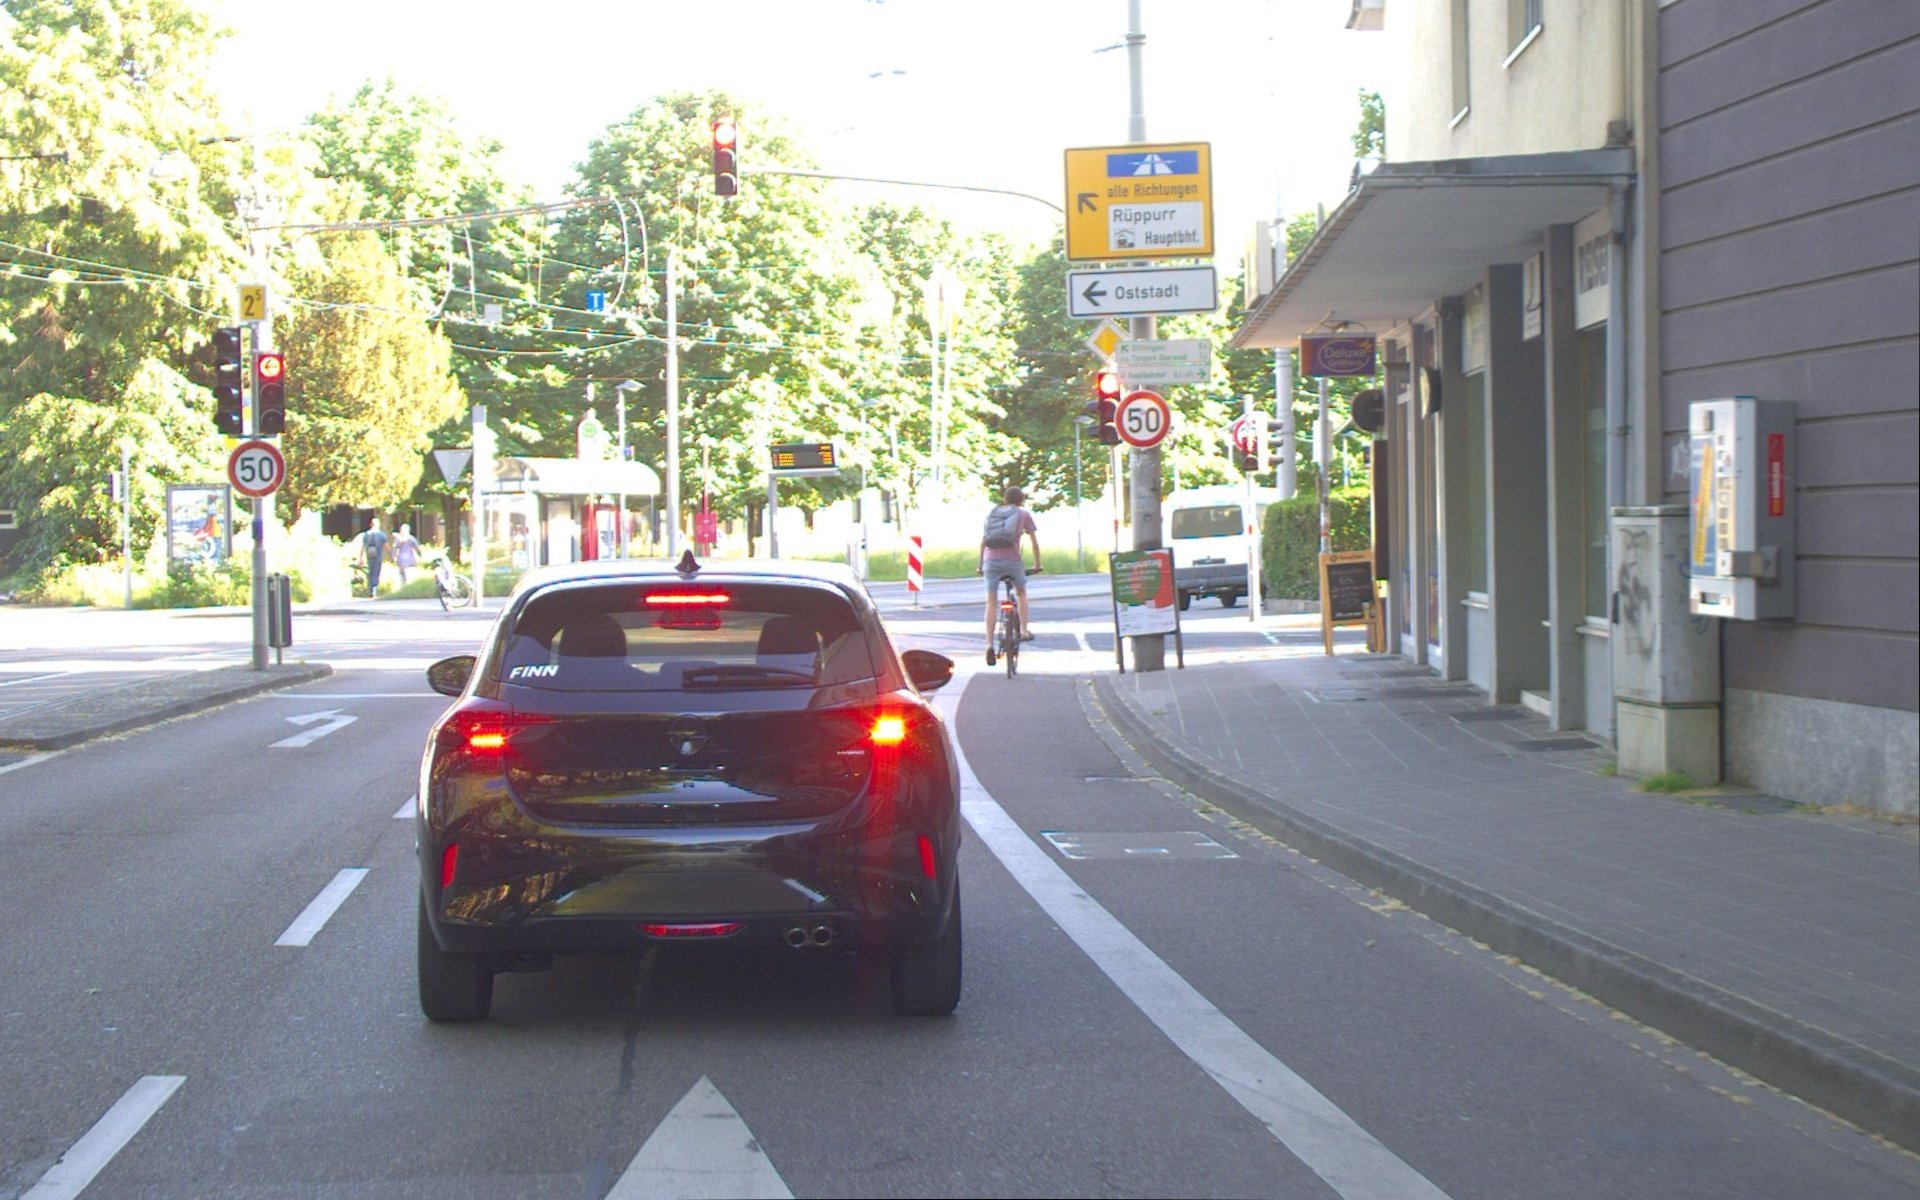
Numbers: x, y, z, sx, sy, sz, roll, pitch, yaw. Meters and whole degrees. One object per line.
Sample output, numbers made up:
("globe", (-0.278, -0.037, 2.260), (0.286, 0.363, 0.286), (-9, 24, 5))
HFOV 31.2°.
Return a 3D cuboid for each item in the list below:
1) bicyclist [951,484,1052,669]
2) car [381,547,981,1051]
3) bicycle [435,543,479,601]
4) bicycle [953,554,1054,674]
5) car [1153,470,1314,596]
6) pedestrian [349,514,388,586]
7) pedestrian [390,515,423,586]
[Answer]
("bicyclist", (0.420, -0.248, 35.305), (0.941, 1.844, 0.864), (-2, 1, -3))
("car", (-0.903, 0.544, 12.063), (1.727, 1.424, 4.188), (0, 1, -3))
("bicycle", (-9.332, -0.525, 63.795), (0.605, 1.027, 1.982), (-1, 1, -3))
("bicycle", (0.428, 0.124, 35.360), (0.860, 1.149, 2.172), (-2, 1, -3))
("car", (5.174, -1.280, 64.350), (2.065, 2.241, 4.884), (-1, 2, 16))
("pedestrian", (-13.586, -1.145, 78.950), (0.751, 1.624, 0.597), (1, 0, 4))
("pedestrian", (-12.724, -1.135, 79.035), (0.636, 1.624, 0.572), (1, 0, 4))
